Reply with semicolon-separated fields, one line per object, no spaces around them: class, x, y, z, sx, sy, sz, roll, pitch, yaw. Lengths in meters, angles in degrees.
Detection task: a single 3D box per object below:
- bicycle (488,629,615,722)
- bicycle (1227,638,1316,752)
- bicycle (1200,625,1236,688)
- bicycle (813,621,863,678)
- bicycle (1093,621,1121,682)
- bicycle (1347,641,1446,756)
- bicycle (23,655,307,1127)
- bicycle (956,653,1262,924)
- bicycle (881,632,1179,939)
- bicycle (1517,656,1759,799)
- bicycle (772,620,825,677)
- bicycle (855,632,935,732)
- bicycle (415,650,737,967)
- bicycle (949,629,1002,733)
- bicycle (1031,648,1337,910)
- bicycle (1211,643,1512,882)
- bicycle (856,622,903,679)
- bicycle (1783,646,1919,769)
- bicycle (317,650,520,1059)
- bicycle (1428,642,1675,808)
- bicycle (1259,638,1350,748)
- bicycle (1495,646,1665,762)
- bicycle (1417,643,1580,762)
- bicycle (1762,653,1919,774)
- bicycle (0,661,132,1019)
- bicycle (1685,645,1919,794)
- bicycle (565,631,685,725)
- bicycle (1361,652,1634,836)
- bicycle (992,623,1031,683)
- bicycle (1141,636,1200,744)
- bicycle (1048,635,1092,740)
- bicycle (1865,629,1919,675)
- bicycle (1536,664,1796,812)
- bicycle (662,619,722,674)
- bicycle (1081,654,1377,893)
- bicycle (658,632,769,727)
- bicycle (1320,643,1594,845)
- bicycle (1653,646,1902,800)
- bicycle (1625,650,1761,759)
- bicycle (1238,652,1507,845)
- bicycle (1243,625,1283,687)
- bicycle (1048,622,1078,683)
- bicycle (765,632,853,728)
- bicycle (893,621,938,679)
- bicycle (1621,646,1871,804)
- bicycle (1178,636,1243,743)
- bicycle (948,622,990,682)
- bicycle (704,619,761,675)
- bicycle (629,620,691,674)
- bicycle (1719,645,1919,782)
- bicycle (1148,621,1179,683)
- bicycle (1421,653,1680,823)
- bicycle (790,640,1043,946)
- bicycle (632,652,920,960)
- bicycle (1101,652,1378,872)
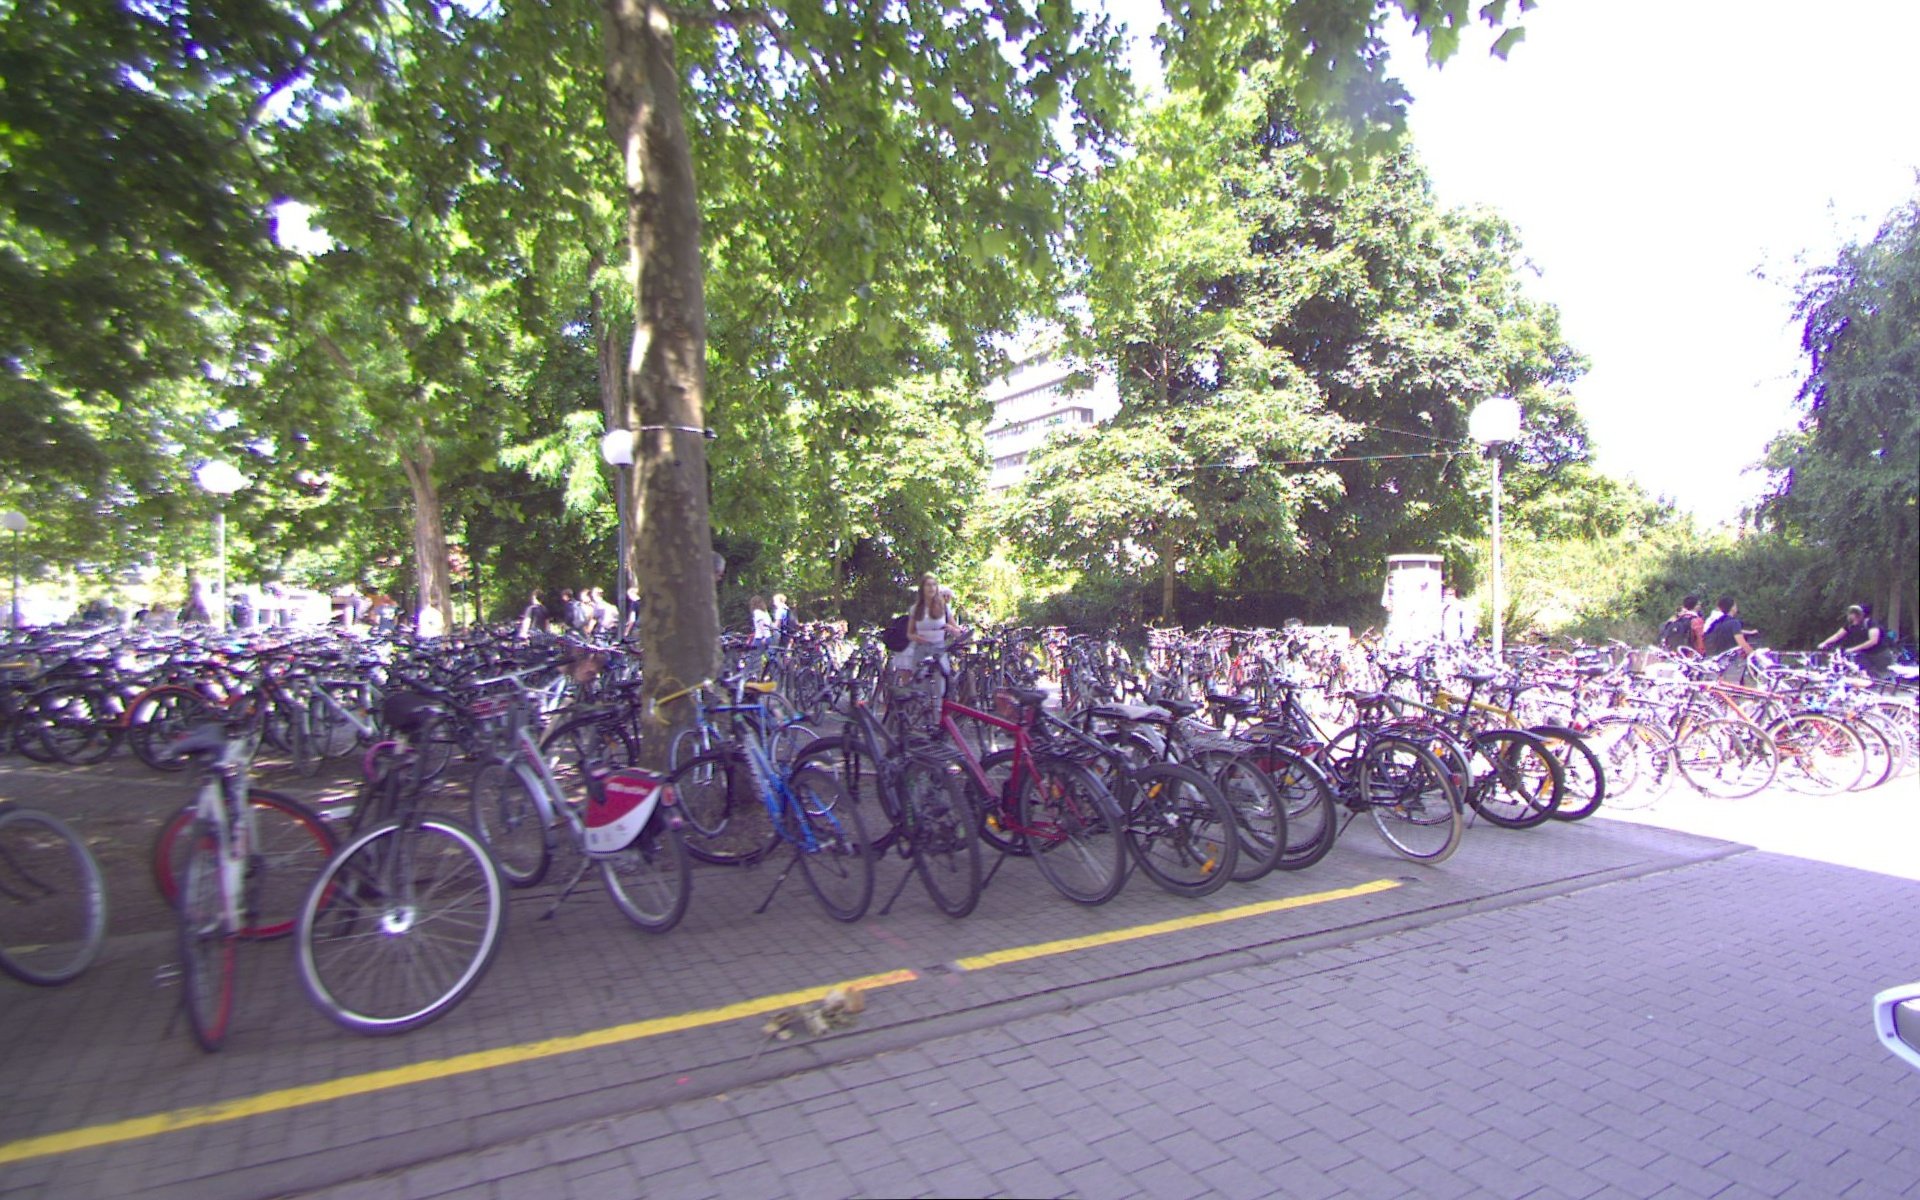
bicycle;-5.289;0.948;13.112;0.465;1.098;1.699;1;0;22
bicycle;3.400;1.003;11.101;0.465;1.098;1.700;1;0;1
bicycle;4.983;1.064;19.457;0.464;1.125;1.779;1;0;8
bicycle;-2.580;1.025;21.397;0.507;1.125;1.779;1;0;11
bicycle;2.942;1.002;20.142;0.507;1.125;1.779;1;0;8
bicycle;4.768;1.038;11.064;0.464;1.098;1.700;1;0;5
bicycle;-2.620;0.799;3.467;0.491;1.123;1.727;1;0;-30
bicycle;0.715;0.889;5.308;0.493;1.123;1.679;1;0;-40
bicycle;0.278;0.816;5.122;0.492;1.252;1.722;1;0;-37
bicycle;5.828;1.072;8.736;1.667;1.076;0.474;1;0;25
bicycle;-3.428;1.013;21.514;0.507;1.125;1.779;1;0;11
bicycle;-0.764;0.959;12.341;0.464;1.098;1.700;1;0;14
bicycle;-1.786;0.831;4.541;1.712;1.123;0.495;1;0;36
bicycle;0.206;0.917;11.909;0.464;1.098;1.700;1;0;5
bicycle;1.168;0.889;5.561;0.470;1.161;1.679;1;0;-41
bicycle;2.416;0.907;6.225;0.532;1.214;1.681;1;0;-38
bicycle;-1.687;1.041;21.350;0.507;1.125;1.779;1;0;11
bicycle;9.676;1.109;10.423;0.470;1.174;1.681;1;0;-38
bicycle;-2.139;0.803;3.860;0.492;1.141;1.724;1;0;-34
bicycle;4.774;0.965;8.186;1.670;1.173;0.473;1;0;33
bicycle;3.892;1.015;11.458;0.465;1.098;1.700;1;0;1
bicycle;6.753;1.091;11.041;0.466;1.098;1.693;1;0;-17
bicycle;5.704;1.049;10.744;0.466;1.098;1.693;1;0;-16
bicycle;9.267;1.132;10.205;0.469;1.106;1.682;1;0;-36
bicycle;-3.342;0.794;2.992;0.564;1.123;1.737;1;0;-11
bicycle;7.867;1.057;9.442;0.466;1.184;1.775;1;0;-17
bicycle;-4.307;0.970;13.041;0.465;1.098;1.699;1;0;22
bicycle;3.909;0.987;7.418;0.578;1.123;1.679;1;0;-41
bicycle;1.063;1.051;20.271;0.507;1.125;1.779;1;0;11
bicycle;2.420;1.002;11.674;0.464;1.098;1.700;1;0;5
bicycle;1.296;0.994;11.953;0.464;1.098;1.700;1;0;5
bicycle;23.155;1.270;24.610;1.669;1.061;0.473;2;1;-9
bicycle;5.712;1.087;8.234;1.667;1.032;0.474;1;0;25
bicycle;-5.843;0.993;22.008;0.507;1.125;1.779;1;0;11
bicycle;1.505;0.922;5.882;0.470;1.123;1.679;1;0;-41
bicycle;-3.122;0.976;12.890;0.465;1.098;1.699;1;0;22
bicycle;3.467;0.943;7.141;0.470;1.203;1.679;1;0;-41
bicycle;7.294;1.044;9.030;0.471;1.184;1.678;1;0;-42
bicycle;8.040;1.114;11.007;1.678;1.098;0.505;1;0;-28
bicycle;2.857;0.970;7.109;0.561;1.123;1.679;1;0;-41
bicycle;5.943;1.070;19.772;0.464;1.125;1.779;1;0;8
bicycle;2.081;1.019;20.107;0.507;1.125;1.779;1;0;8
bicycle;-1.889;0.973;12.807;0.464;1.098;1.700;1;0;14
bicycle;-0.906;1.025;21.022;0.507;1.125;1.779;1;0;11
bicycle;6.821;1.037;8.778;1.676;1.184;0.471;1;0;43
bicycle;2.895;1.001;11.724;0.464;1.098;1.700;1;0;5
bicycle;0.204;1.033;20.473;0.507;1.125;1.779;1;0;11
bicycle;-4.937;1.000;21.897;0.507;1.125;1.779;1;0;11
bicycle;-6.586;1.012;22.144;0.507;1.125;1.779;1;0;11
bicycle;8.577;1.075;9.898;0.469;1.184;1.682;1;0;-36
bicycle;3.973;0.991;19.672;0.464;1.125;1.779;1;0;8
bicycle;4.529;1.011;7.790;1.670;1.123;0.473;1;0;33
bicycle;-0.294;0.828;5.005;0.491;1.194;1.726;1;0;-30
bicycle;-0.939;0.852;4.758;0.493;1.123;1.719;1;0;-42
bicycle;1.688;0.931;6.306;0.470;1.123;1.679;1;0;-41
